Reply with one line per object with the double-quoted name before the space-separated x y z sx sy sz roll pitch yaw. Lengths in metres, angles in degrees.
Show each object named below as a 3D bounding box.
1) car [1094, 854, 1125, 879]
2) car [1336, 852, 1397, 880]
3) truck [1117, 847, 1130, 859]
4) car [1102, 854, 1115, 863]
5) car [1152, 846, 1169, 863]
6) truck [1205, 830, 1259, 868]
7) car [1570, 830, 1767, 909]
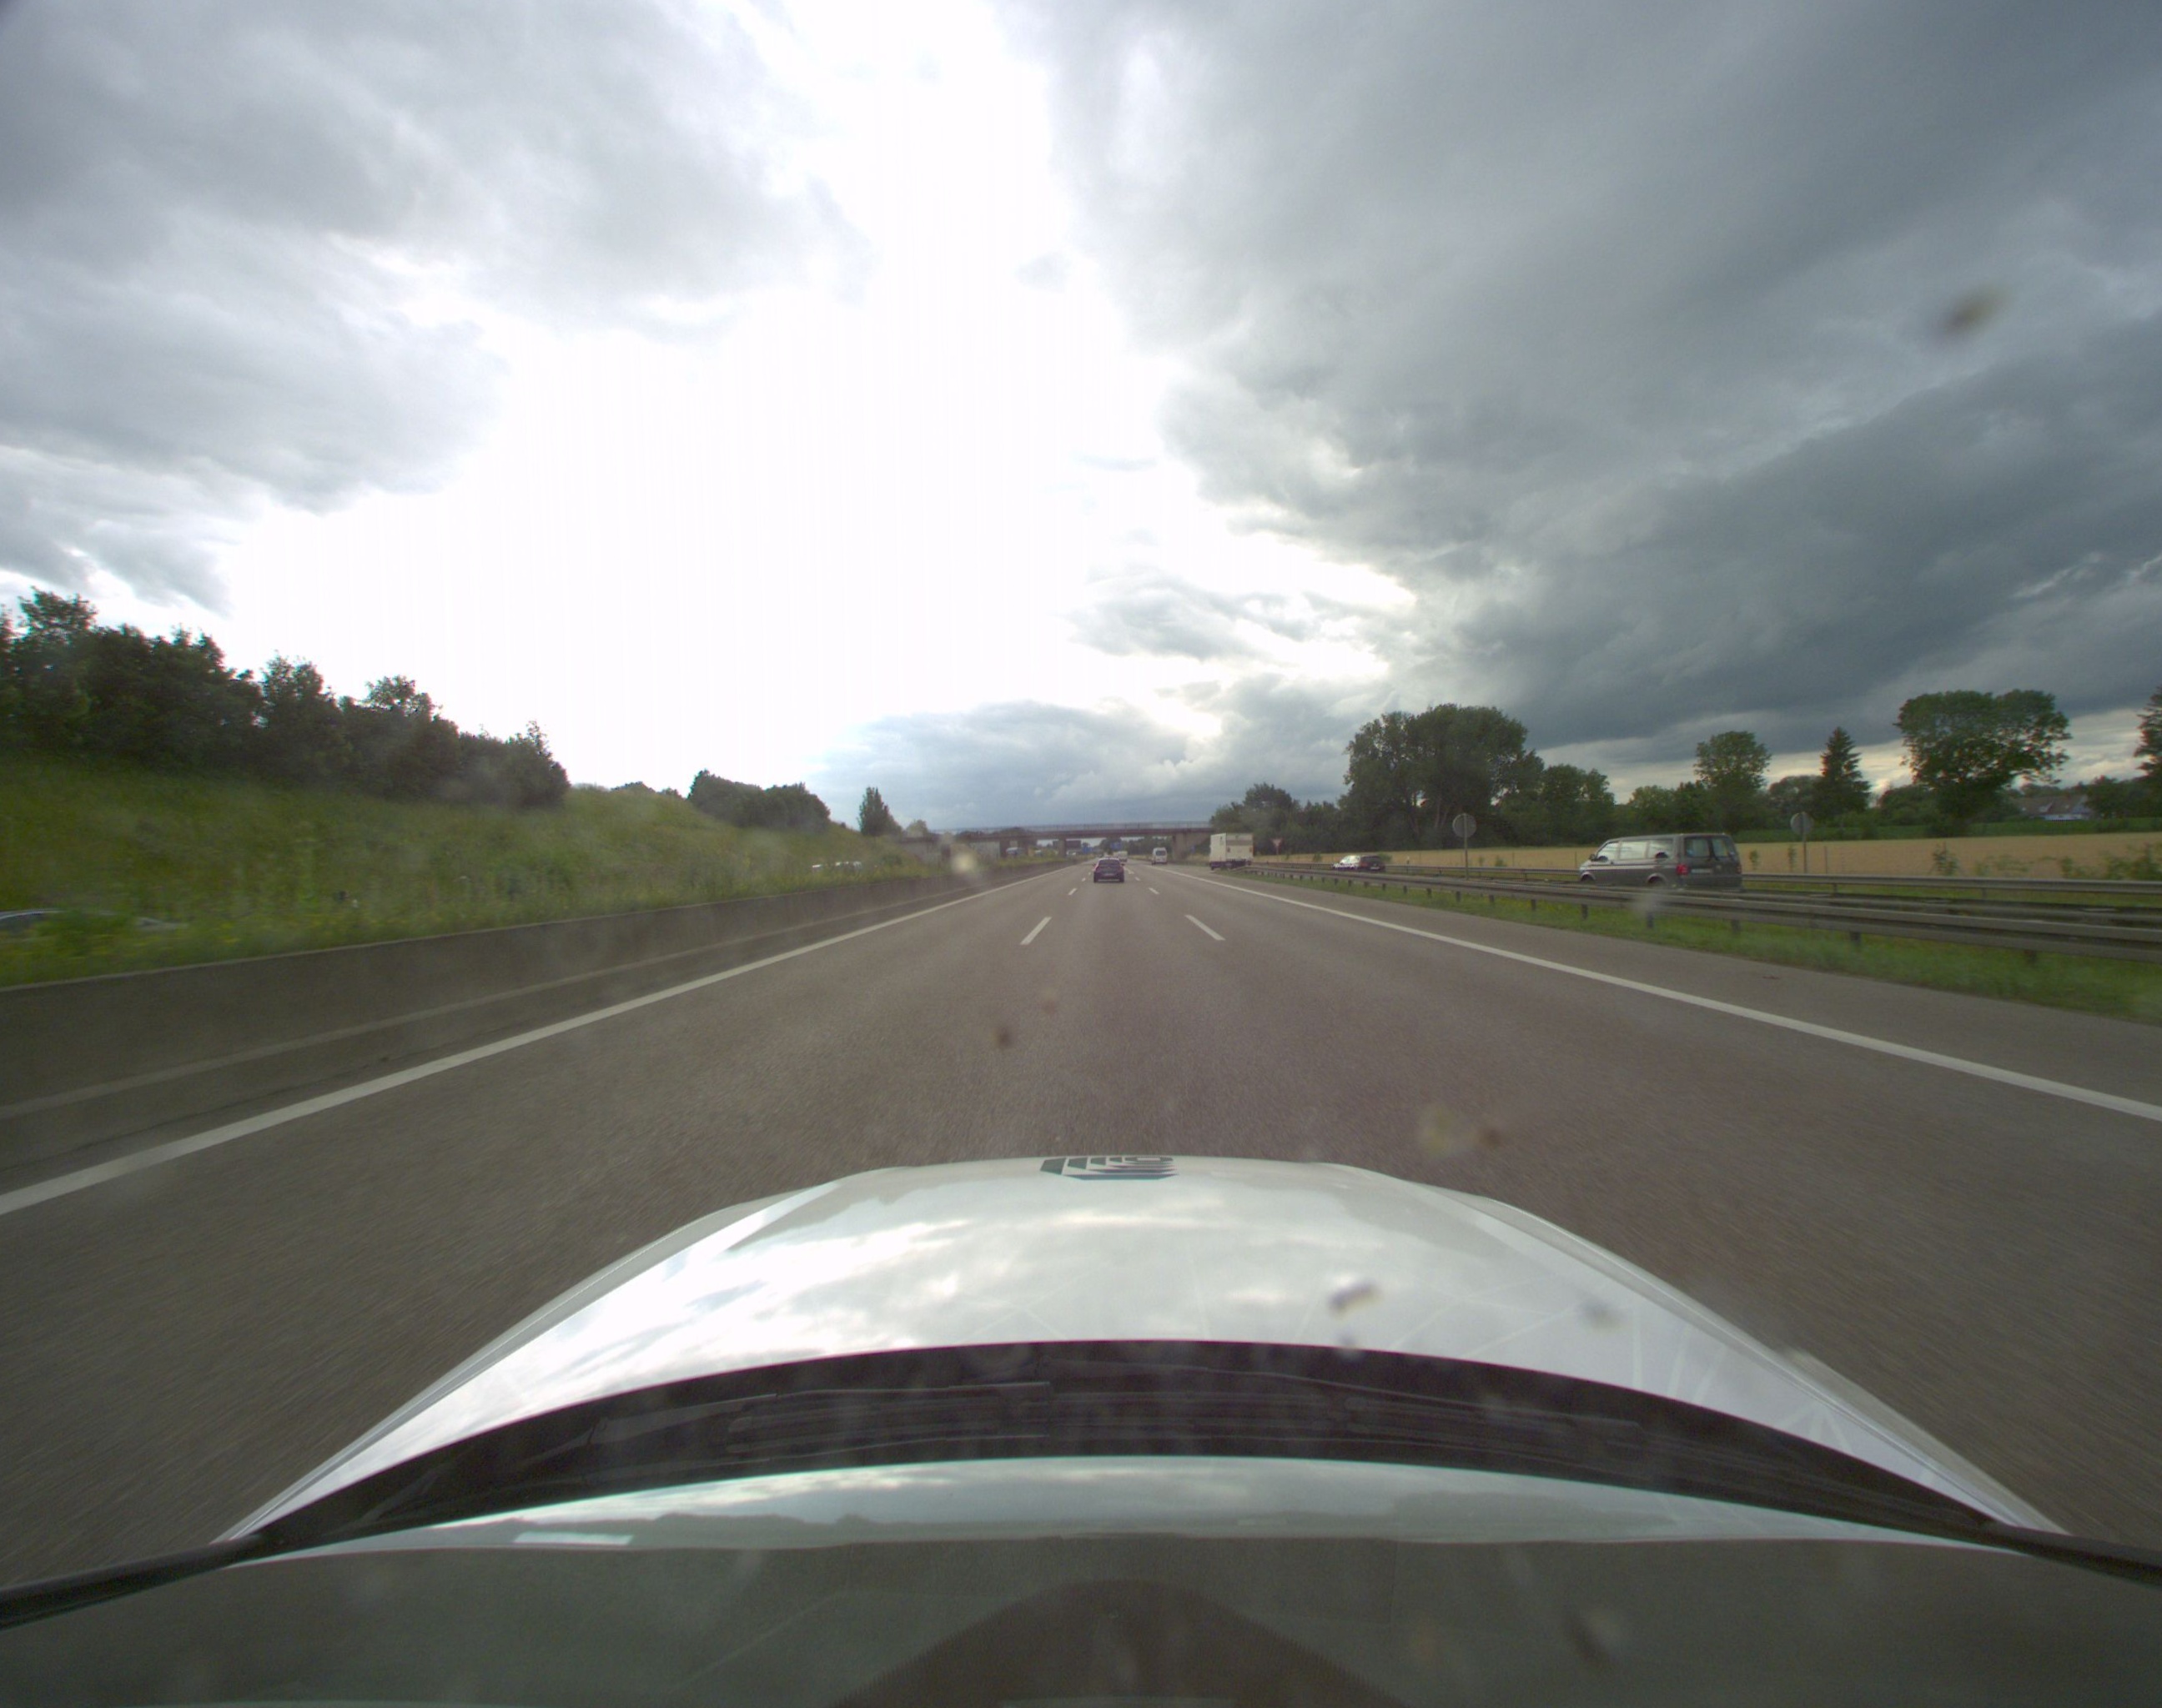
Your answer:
"car" 1.679 0.700 47.988 1.737 1.389 4.002 -1 0 2
"car" 17.144 0.676 49.175 1.911 1.550 4.923 -2 0 0
"truck" 10.396 -0.183 200.340 2.700 2.964 12.450 0 0 2
"car" 4.371 0.737 131.372 1.986 1.298 4.001 -2 0 1
"car" 12.541 0.116 129.031 2.213 2.568 6.258 -1 0 2
"truck" 14.377 -0.468 78.511 3.098 3.471 8.879 0 0 -4
"car" 16.994 0.413 23.973 2.138 2.063 4.955 -1 0 -1
